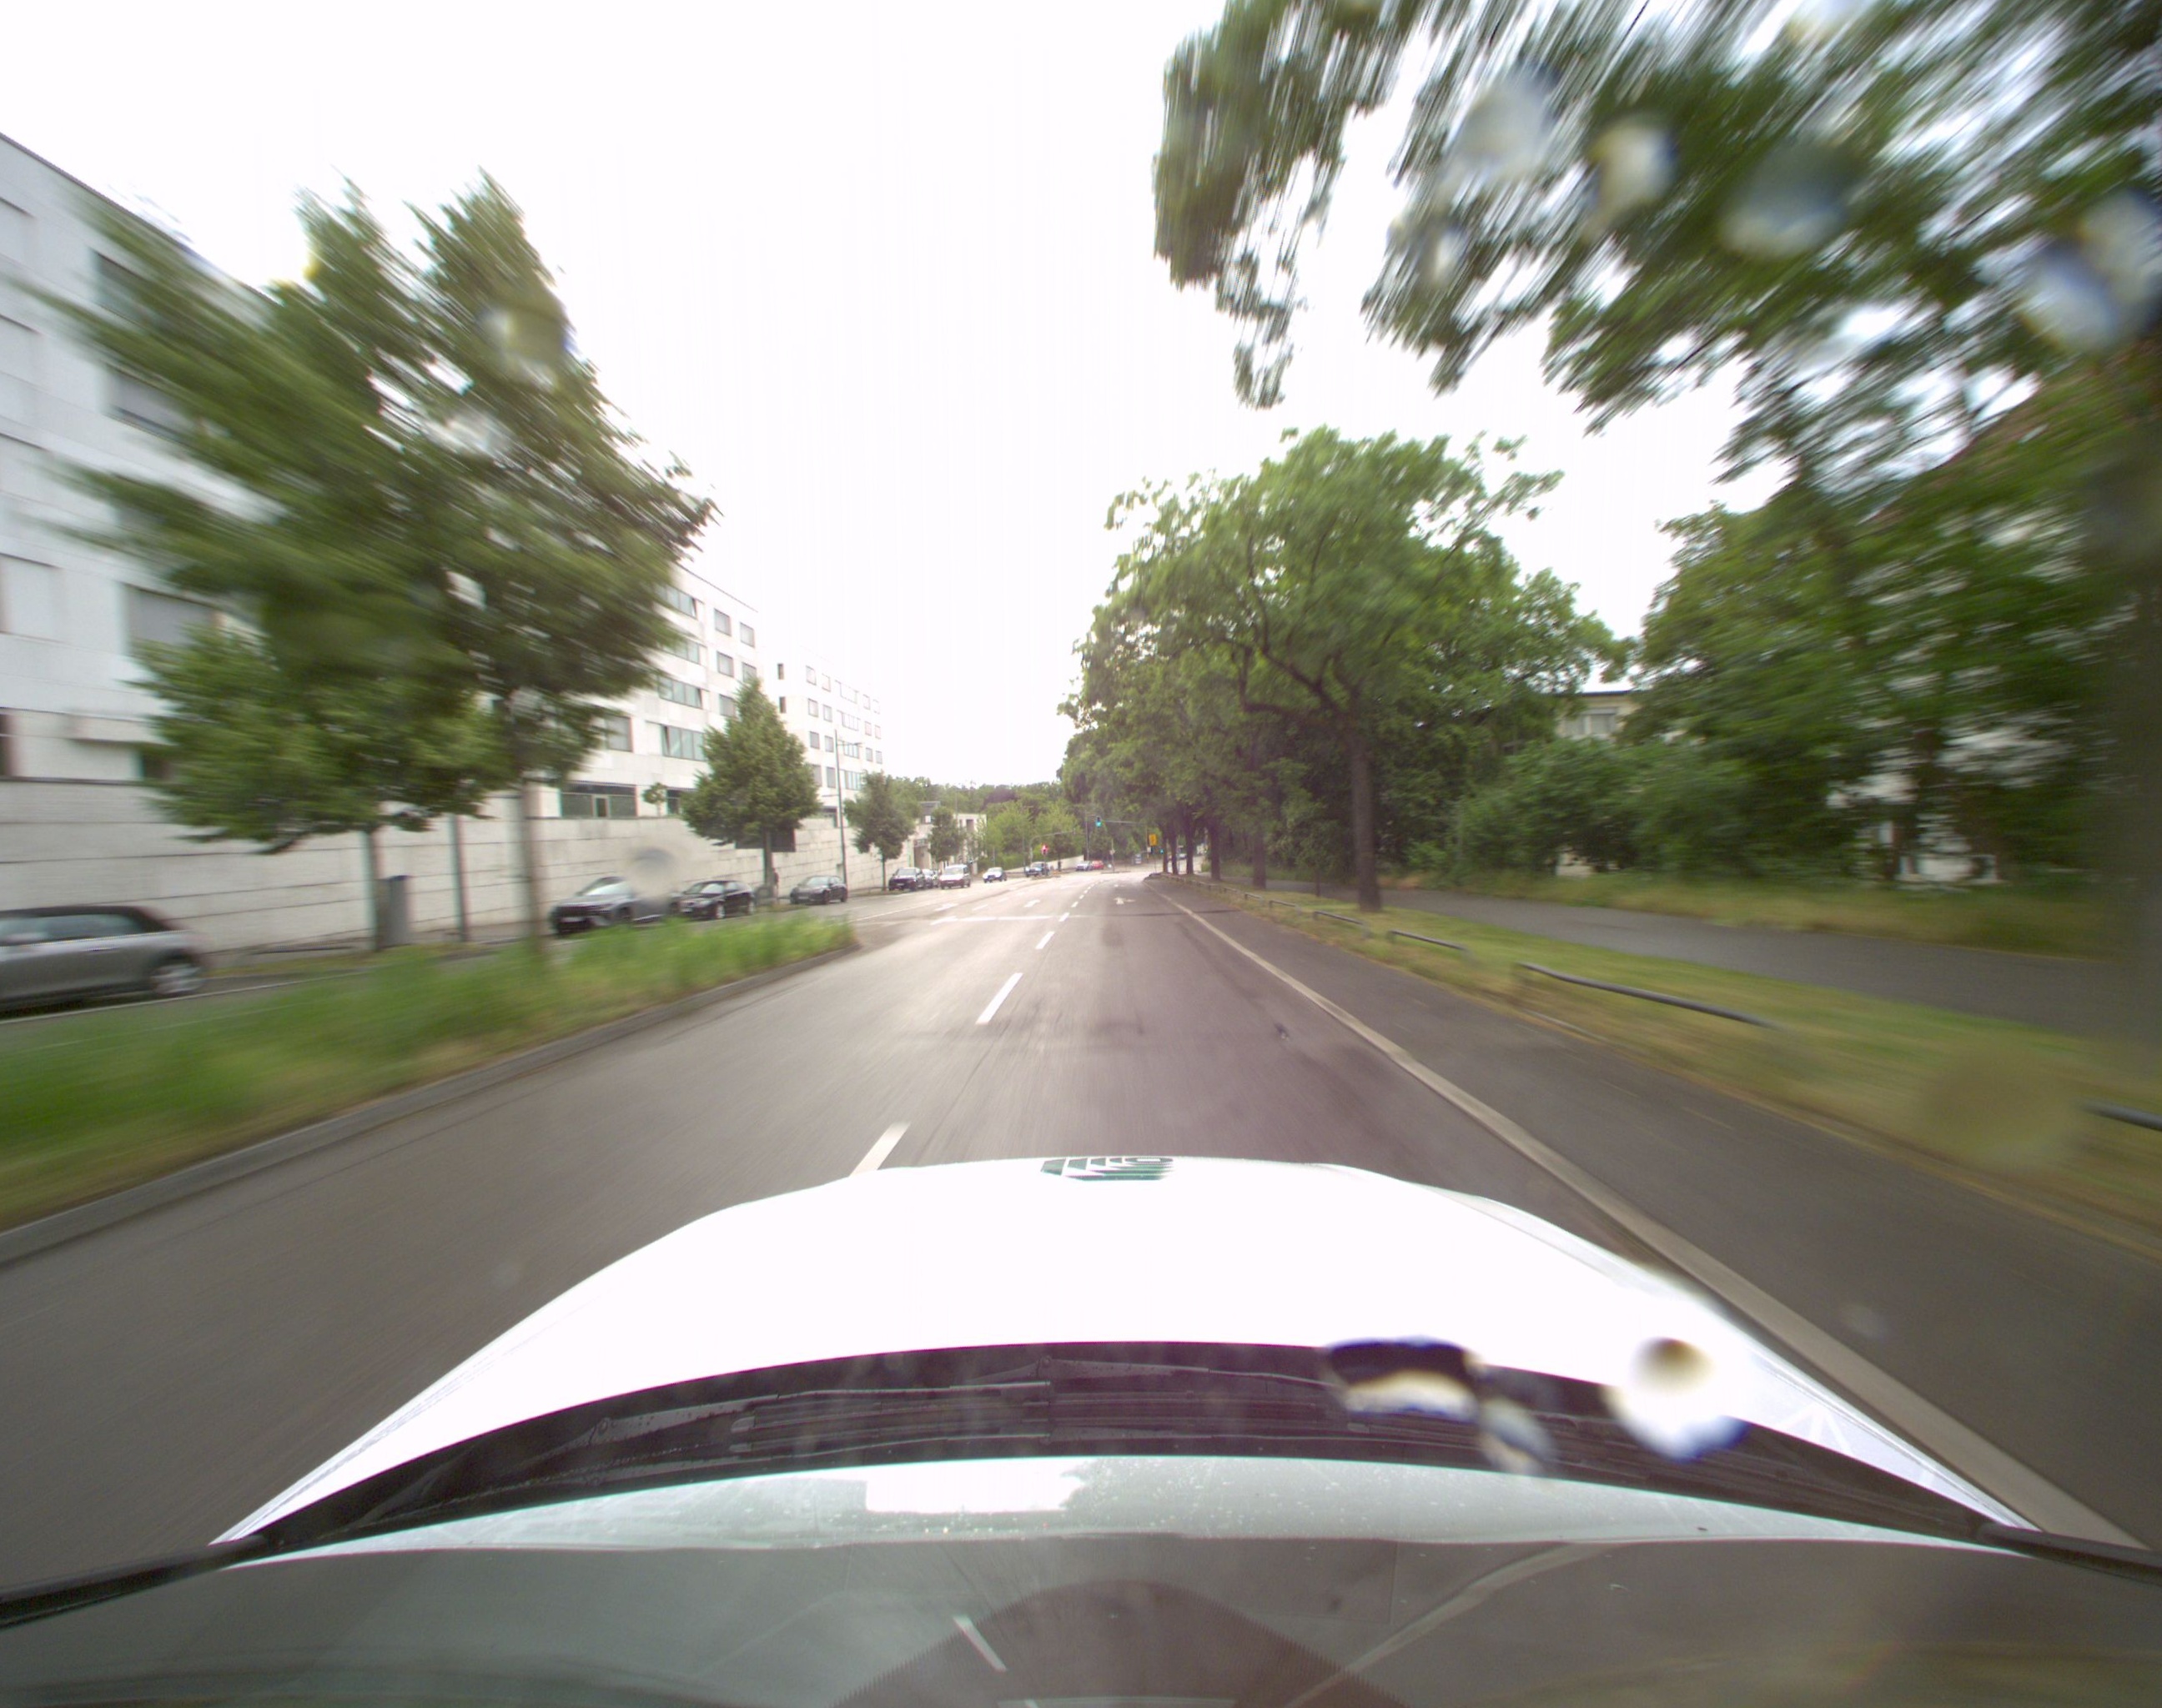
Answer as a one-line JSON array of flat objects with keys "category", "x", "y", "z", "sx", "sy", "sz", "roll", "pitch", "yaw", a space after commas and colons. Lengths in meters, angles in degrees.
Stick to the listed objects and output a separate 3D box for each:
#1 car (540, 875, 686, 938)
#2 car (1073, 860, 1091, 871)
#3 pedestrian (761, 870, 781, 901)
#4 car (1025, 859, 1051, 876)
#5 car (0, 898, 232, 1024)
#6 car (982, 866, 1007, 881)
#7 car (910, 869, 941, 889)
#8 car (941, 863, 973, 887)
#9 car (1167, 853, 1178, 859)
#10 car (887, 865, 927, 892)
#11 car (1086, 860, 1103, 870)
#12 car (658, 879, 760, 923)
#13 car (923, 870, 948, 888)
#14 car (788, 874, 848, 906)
[{"category": "car", "x": -13.909, "y": 1.508, "z": 24.541, "sx": 1.696, "sy": 1.620, "sz": 4.364, "roll": -2, "pitch": -1, "yaw": 2}, {"category": "car", "x": 0.173, "y": 1.904, "z": 135.289, "sx": 1.838, "sy": 1.640, "sz": 4.113, "roll": 0, "pitch": 1, "yaw": 19}, {"category": "pedestrian", "x": -18.832, "y": 1.913, "z": 49.515, "sx": 0.705, "sy": 1.774, "sz": 1.022, "roll": -3, "pitch": -1, "yaw": 2}, {"category": "car", "x": -5.588, "y": 1.742, "z": 105.873, "sx": 1.906, "sy": 1.857, "sz": 4.525, "roll": -7, "pitch": -1, "yaw": 15}, {"category": "car", "x": -14.485, "y": 1.440, "z": 11.062, "sx": 1.687, "sy": 1.444, "sz": 3.864, "roll": -1, "pitch": 0, "yaw": 4}, {"category": "car", "x": -8.703, "y": 1.966, "z": 82.346, "sx": 1.763, "sy": 1.381, "sz": 4.192, "roll": -4, "pitch": -1, "yaw": 2}, {"category": "car", "x": -12.518, "y": 1.996, "z": 65.709, "sx": 1.673, "sy": 1.515, "sz": 3.712, "roll": -2, "pitch": -1, "yaw": 2}, {"category": "car", "x": -9.633, "y": 1.614, "z": 63.549, "sx": 1.704, "sy": 1.746, "sz": 4.338, "roll": -3, "pitch": 0, "yaw": 1}, {"category": "car", "x": 21.678, "y": 0.525, "z": 193.708, "sx": 1.698, "sy": 1.460, "sz": 3.769, "roll": -1, "pitch": -1, "yaw": 21}, {"category": "car", "x": -12.764, "y": 1.758, "z": 60.063, "sx": 1.850, "sy": 1.781, "sz": 4.596, "roll": -3, "pitch": -1, "yaw": 0}, {"category": "car", "x": 2.438, "y": 1.895, "z": 142.323, "sx": 1.860, "sy": 1.575, "sz": 4.242, "roll": 0, "pitch": 0, "yaw": 17}, {"category": "car", "x": -13.741, "y": 1.707, "z": 30.354, "sx": 1.688, "sy": 1.360, "sz": 4.166, "roll": -2, "pitch": 0, "yaw": 3}, {"category": "car", "x": -12.819, "y": 2.190, "z": 71.711, "sx": 1.502, "sy": 1.515, "sz": 2.982, "roll": -2, "pitch": -1, "yaw": 3}, {"category": "car", "x": -13.221, "y": 1.772, "z": 41.177, "sx": 1.673, "sy": 1.426, "sz": 3.965, "roll": -2, "pitch": -1, "yaw": 1}]
